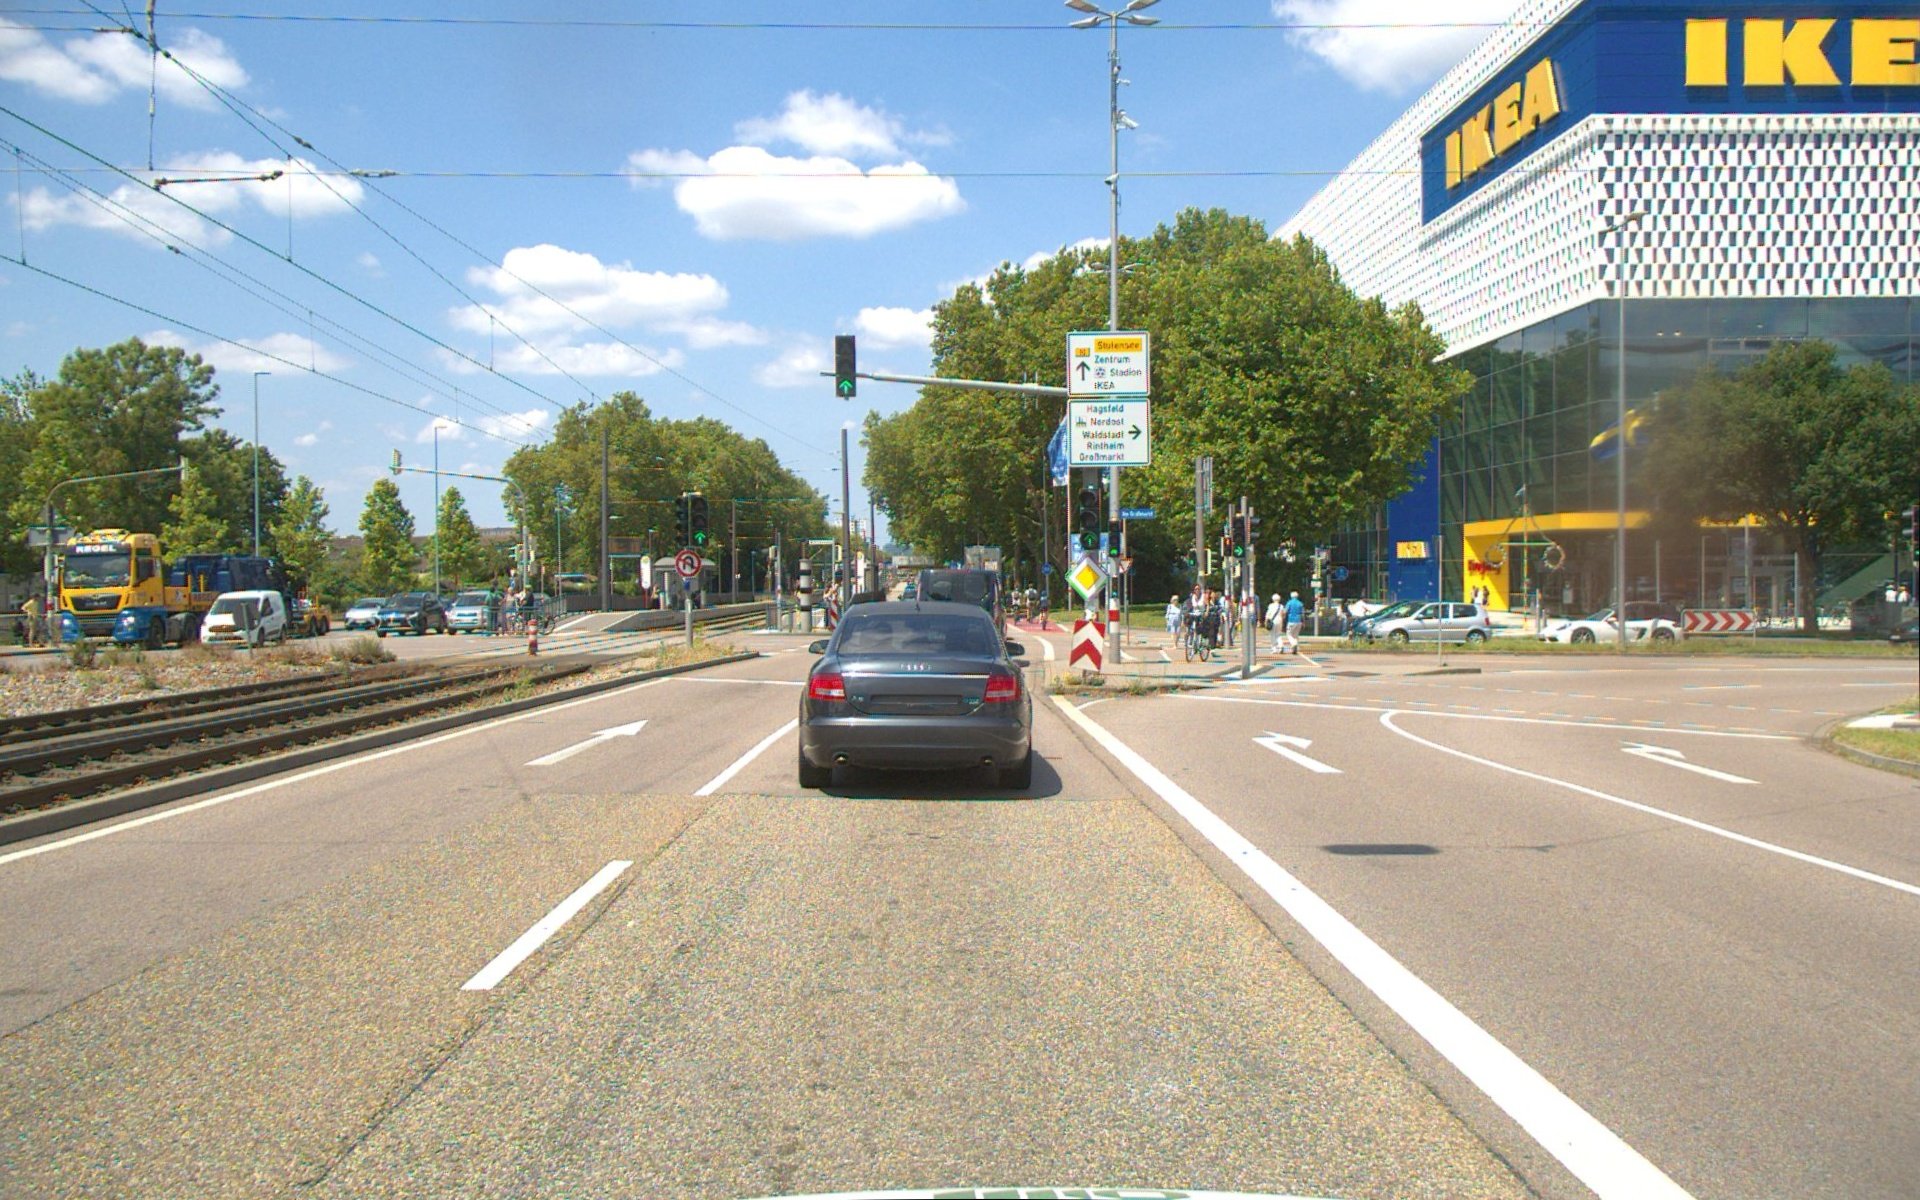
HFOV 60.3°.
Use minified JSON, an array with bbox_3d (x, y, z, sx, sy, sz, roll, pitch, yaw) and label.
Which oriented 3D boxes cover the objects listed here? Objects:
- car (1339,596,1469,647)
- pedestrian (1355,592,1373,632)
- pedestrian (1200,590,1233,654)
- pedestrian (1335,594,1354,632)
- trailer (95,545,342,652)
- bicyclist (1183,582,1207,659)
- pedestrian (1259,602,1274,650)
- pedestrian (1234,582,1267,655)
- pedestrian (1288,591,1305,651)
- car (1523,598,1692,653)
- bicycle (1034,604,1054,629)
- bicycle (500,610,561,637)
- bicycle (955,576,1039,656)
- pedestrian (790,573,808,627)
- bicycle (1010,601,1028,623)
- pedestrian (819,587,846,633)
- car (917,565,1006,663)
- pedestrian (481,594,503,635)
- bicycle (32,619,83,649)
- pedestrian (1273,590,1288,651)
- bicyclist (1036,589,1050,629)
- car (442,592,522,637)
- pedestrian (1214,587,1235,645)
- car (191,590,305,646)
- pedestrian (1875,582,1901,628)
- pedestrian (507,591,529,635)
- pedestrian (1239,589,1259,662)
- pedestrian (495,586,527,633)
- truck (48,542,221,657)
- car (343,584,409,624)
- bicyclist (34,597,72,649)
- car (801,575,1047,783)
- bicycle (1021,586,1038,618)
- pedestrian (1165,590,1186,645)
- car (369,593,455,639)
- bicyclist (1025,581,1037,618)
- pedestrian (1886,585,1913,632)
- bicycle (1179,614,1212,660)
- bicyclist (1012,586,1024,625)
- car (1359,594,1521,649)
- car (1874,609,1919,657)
[{"bbox_3d":[14.460,0.680,54.001,3.710,1.512,2.001,2,0,2],"label":"car"},{"bbox_3d":[16.794,0.493,68.763,0.689,1.663,0.612,1,0,18],"label":"pedestrian"},{"bbox_3d":[6.717,0.564,43.294,0.699,1.663,0.706,1,0,24],"label":"pedestrian"},{"bbox_3d":[16.062,0.557,69.127,0.689,1.571,0.678,1,0,18],"label":"pedestrian"},{"bbox_3d":[-27.956,-0.070,63.655,2.711,3.580,15.873,1,0,-1],"label":"trailer"},{"bbox_3d":[5.582,0.482,39.284,0.517,1.795,0.828,0,0,12],"label":"bicyclist"},{"bbox_3d":[8.485,0.709,45.779,0.365,1.326,0.365,1,0,2],"label":"pedestrian"},{"bbox_3d":[7.555,0.476,43.051,0.671,1.878,0.706,1,0,24],"label":"pedestrian"},{"bbox_3d":[9.301,0.572,45.749,0.389,1.663,0.371,1,0,2],"label":"pedestrian"},{"bbox_3d":[19.909,0.773,50.972,4.404,1.512,2.001,2,0,2],"label":"car"},{"bbox_3d":[3.631,0.712,71.414,0.674,1.023,2.751,1,0,-1],"label":"bicycle"},{"bbox_3d":[-15.127,0.825,58.303,2.019,0.941,0.751,1,0,-11],"label":"bicycle"},{"bbox_3d":[1.052,0.408,45.016,1.951,2.049,4.003,1,0,6],"label":"bicycle"},{"bbox_3d":[-6.197,-0.007,63.655,0.672,2.049,0.572,0,0,-6],"label":"pedestrian"},{"bbox_3d":[2.760,0.562,77.525,0.674,1.011,2.751,1,0,-1],"label":"bicycle"},{"bbox_3d":[-4.411,0.337,57.175,0.728,1.583,0.606,1,0,36],"label":"pedestrian"},{"bbox_3d":[-0.021,0.289,35.632,1.799,1.984,3.999,0,0,-2],"label":"car"},{"bbox_3d":[-16.727,0.515,59.129,0.672,1.468,0.572,0,0,-5],"label":"pedestrian"},{"bbox_3d":[-31.615,1.188,57.944,1.462,1.004,0.485,1,0,-5],"label":"bicycle"},{"bbox_3d":[8.864,0.557,45.754,0.314,1.663,0.377,1,0,2],"label":"pedestrian"},{"bbox_3d":[3.576,0.403,71.365,0.518,1.705,1.088,0,0,-1],"label":"bicyclist"},{"bbox_3d":[-19.041,0.548,66.043,1.784,1.699,4.462,1,0,1],"label":"car"},{"bbox_3d":[7.684,0.471,48.031,0.542,1.663,0.433,1,0,1],"label":"pedestrian"},{"bbox_3d":[-23.219,0.561,54.115,1.785,1.699,4.461,1,0,0],"label":"car"},{"bbox_3d":[41.421,0.210,73.832,0.696,2.049,0.824,1,0,1],"label":"pedestrian"},{"bbox_3d":[-16.114,0.466,60.256,0.672,1.592,0.572,0,0,-5],"label":"pedestrian"},{"bbox_3d":[6.622,0.577,37.910,0.373,1.663,0.377,1,0,2],"label":"pedestrian"},{"bbox_3d":[-16.742,0.348,61.668,0.806,1.750,0.775,1,0,21],"label":"pedestrian"},{"bbox_3d":[-27.761,-0.038,55.969,2.711,3.631,6.438,1,0,-2],"label":"truck"},{"bbox_3d":[-28.113,0.177,79.747,1.765,1.849,3.999,1,0,-1],"label":"car"},{"bbox_3d":[-31.773,0.800,57.969,1.097,1.805,0.340,1,0,-6],"label":"bicyclist"},{"bbox_3d":[-0.294,0.544,13.822,1.756,1.480,3.999,0,1,-1],"label":"car"},{"bbox_3d":[3.430,0.103,81.935,0.674,1.545,2.751,1,0,-1],"label":"bicycle"},{"bbox_3d":[6.184,0.495,47.504,0.483,1.546,0.707,1,0,16],"label":"pedestrian"},{"bbox_3d":[-21.651,0.598,65.482,1.784,1.699,4.462,1,0,1],"label":"car"},{"bbox_3d":[3.461,-0.039,81.201,0.518,1.820,1.088,0,0,-1],"label":"bicyclist"},{"bbox_3d":[41.327,0.361,72.774,0.696,2.049,0.824,1,0,1],"label":"pedestrian"},{"bbox_3d":[5.607,0.869,39.307,0.645,1.040,1.863,1,0,12],"label":"bicycle"},{"bbox_3d":[2.706,0.240,77.662,0.518,1.820,1.088,0,0,-1],"label":"bicyclist"},{"bbox_3d":[14.679,0.648,50.754,4.404,1.512,2.001,2,0,2],"label":"car"},{"bbox_3d":[32.875,1.130,54.455,4.404,1.512,2.001,2,0,2],"label":"car"}]
